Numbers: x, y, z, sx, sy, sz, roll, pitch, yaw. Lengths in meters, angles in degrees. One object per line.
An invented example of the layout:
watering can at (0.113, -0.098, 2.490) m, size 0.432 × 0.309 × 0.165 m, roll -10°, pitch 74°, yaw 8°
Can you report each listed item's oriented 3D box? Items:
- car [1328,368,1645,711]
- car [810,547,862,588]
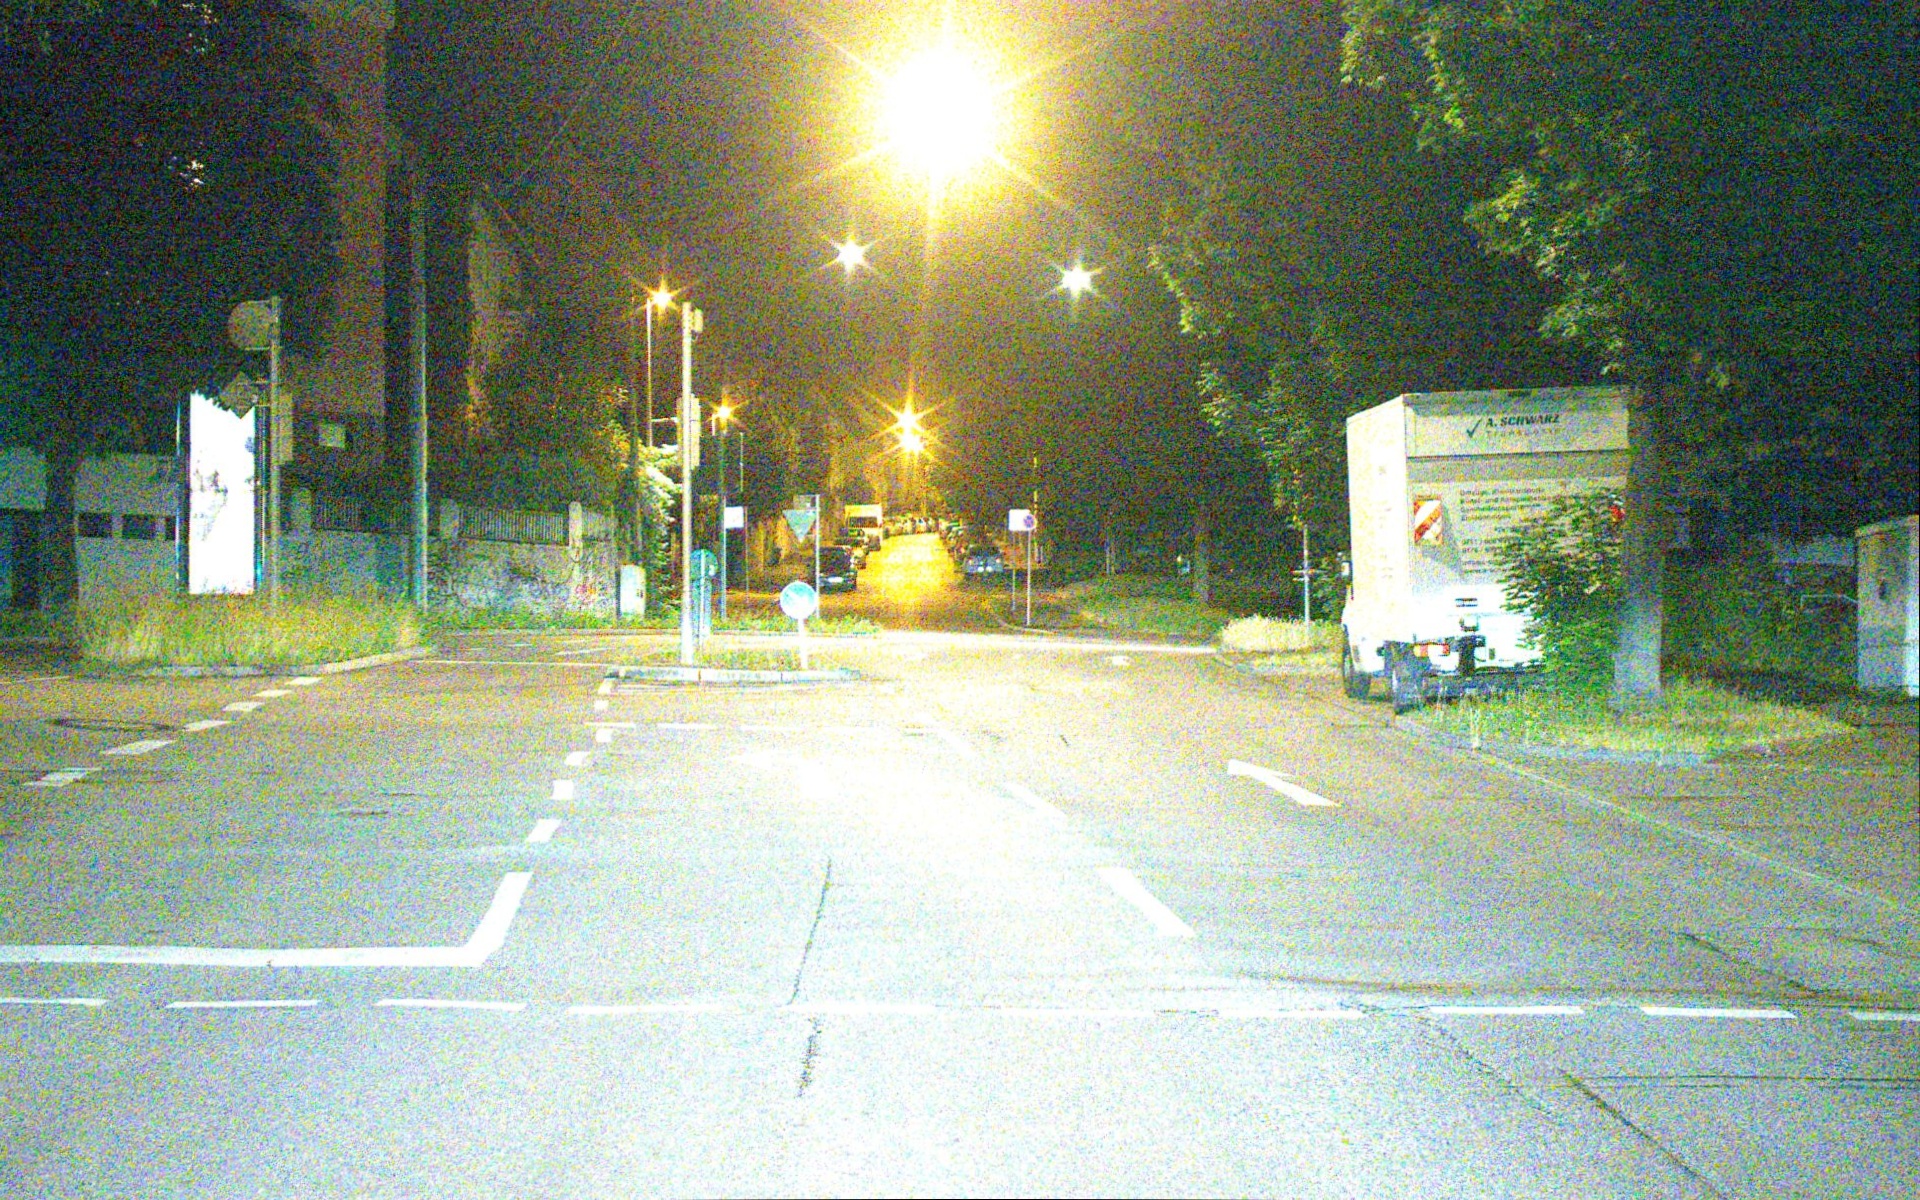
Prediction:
car at (5.120, -0.582, 34.305) m, size 2.297 × 3.082 × 5.840 m, roll -1°, pitch 1°, yaw 1°
car at (-4.844, -1.291, 134.396) m, size 1.908 × 1.552 × 3.904 m, roll 1°, pitch 1°, yaw -1°
